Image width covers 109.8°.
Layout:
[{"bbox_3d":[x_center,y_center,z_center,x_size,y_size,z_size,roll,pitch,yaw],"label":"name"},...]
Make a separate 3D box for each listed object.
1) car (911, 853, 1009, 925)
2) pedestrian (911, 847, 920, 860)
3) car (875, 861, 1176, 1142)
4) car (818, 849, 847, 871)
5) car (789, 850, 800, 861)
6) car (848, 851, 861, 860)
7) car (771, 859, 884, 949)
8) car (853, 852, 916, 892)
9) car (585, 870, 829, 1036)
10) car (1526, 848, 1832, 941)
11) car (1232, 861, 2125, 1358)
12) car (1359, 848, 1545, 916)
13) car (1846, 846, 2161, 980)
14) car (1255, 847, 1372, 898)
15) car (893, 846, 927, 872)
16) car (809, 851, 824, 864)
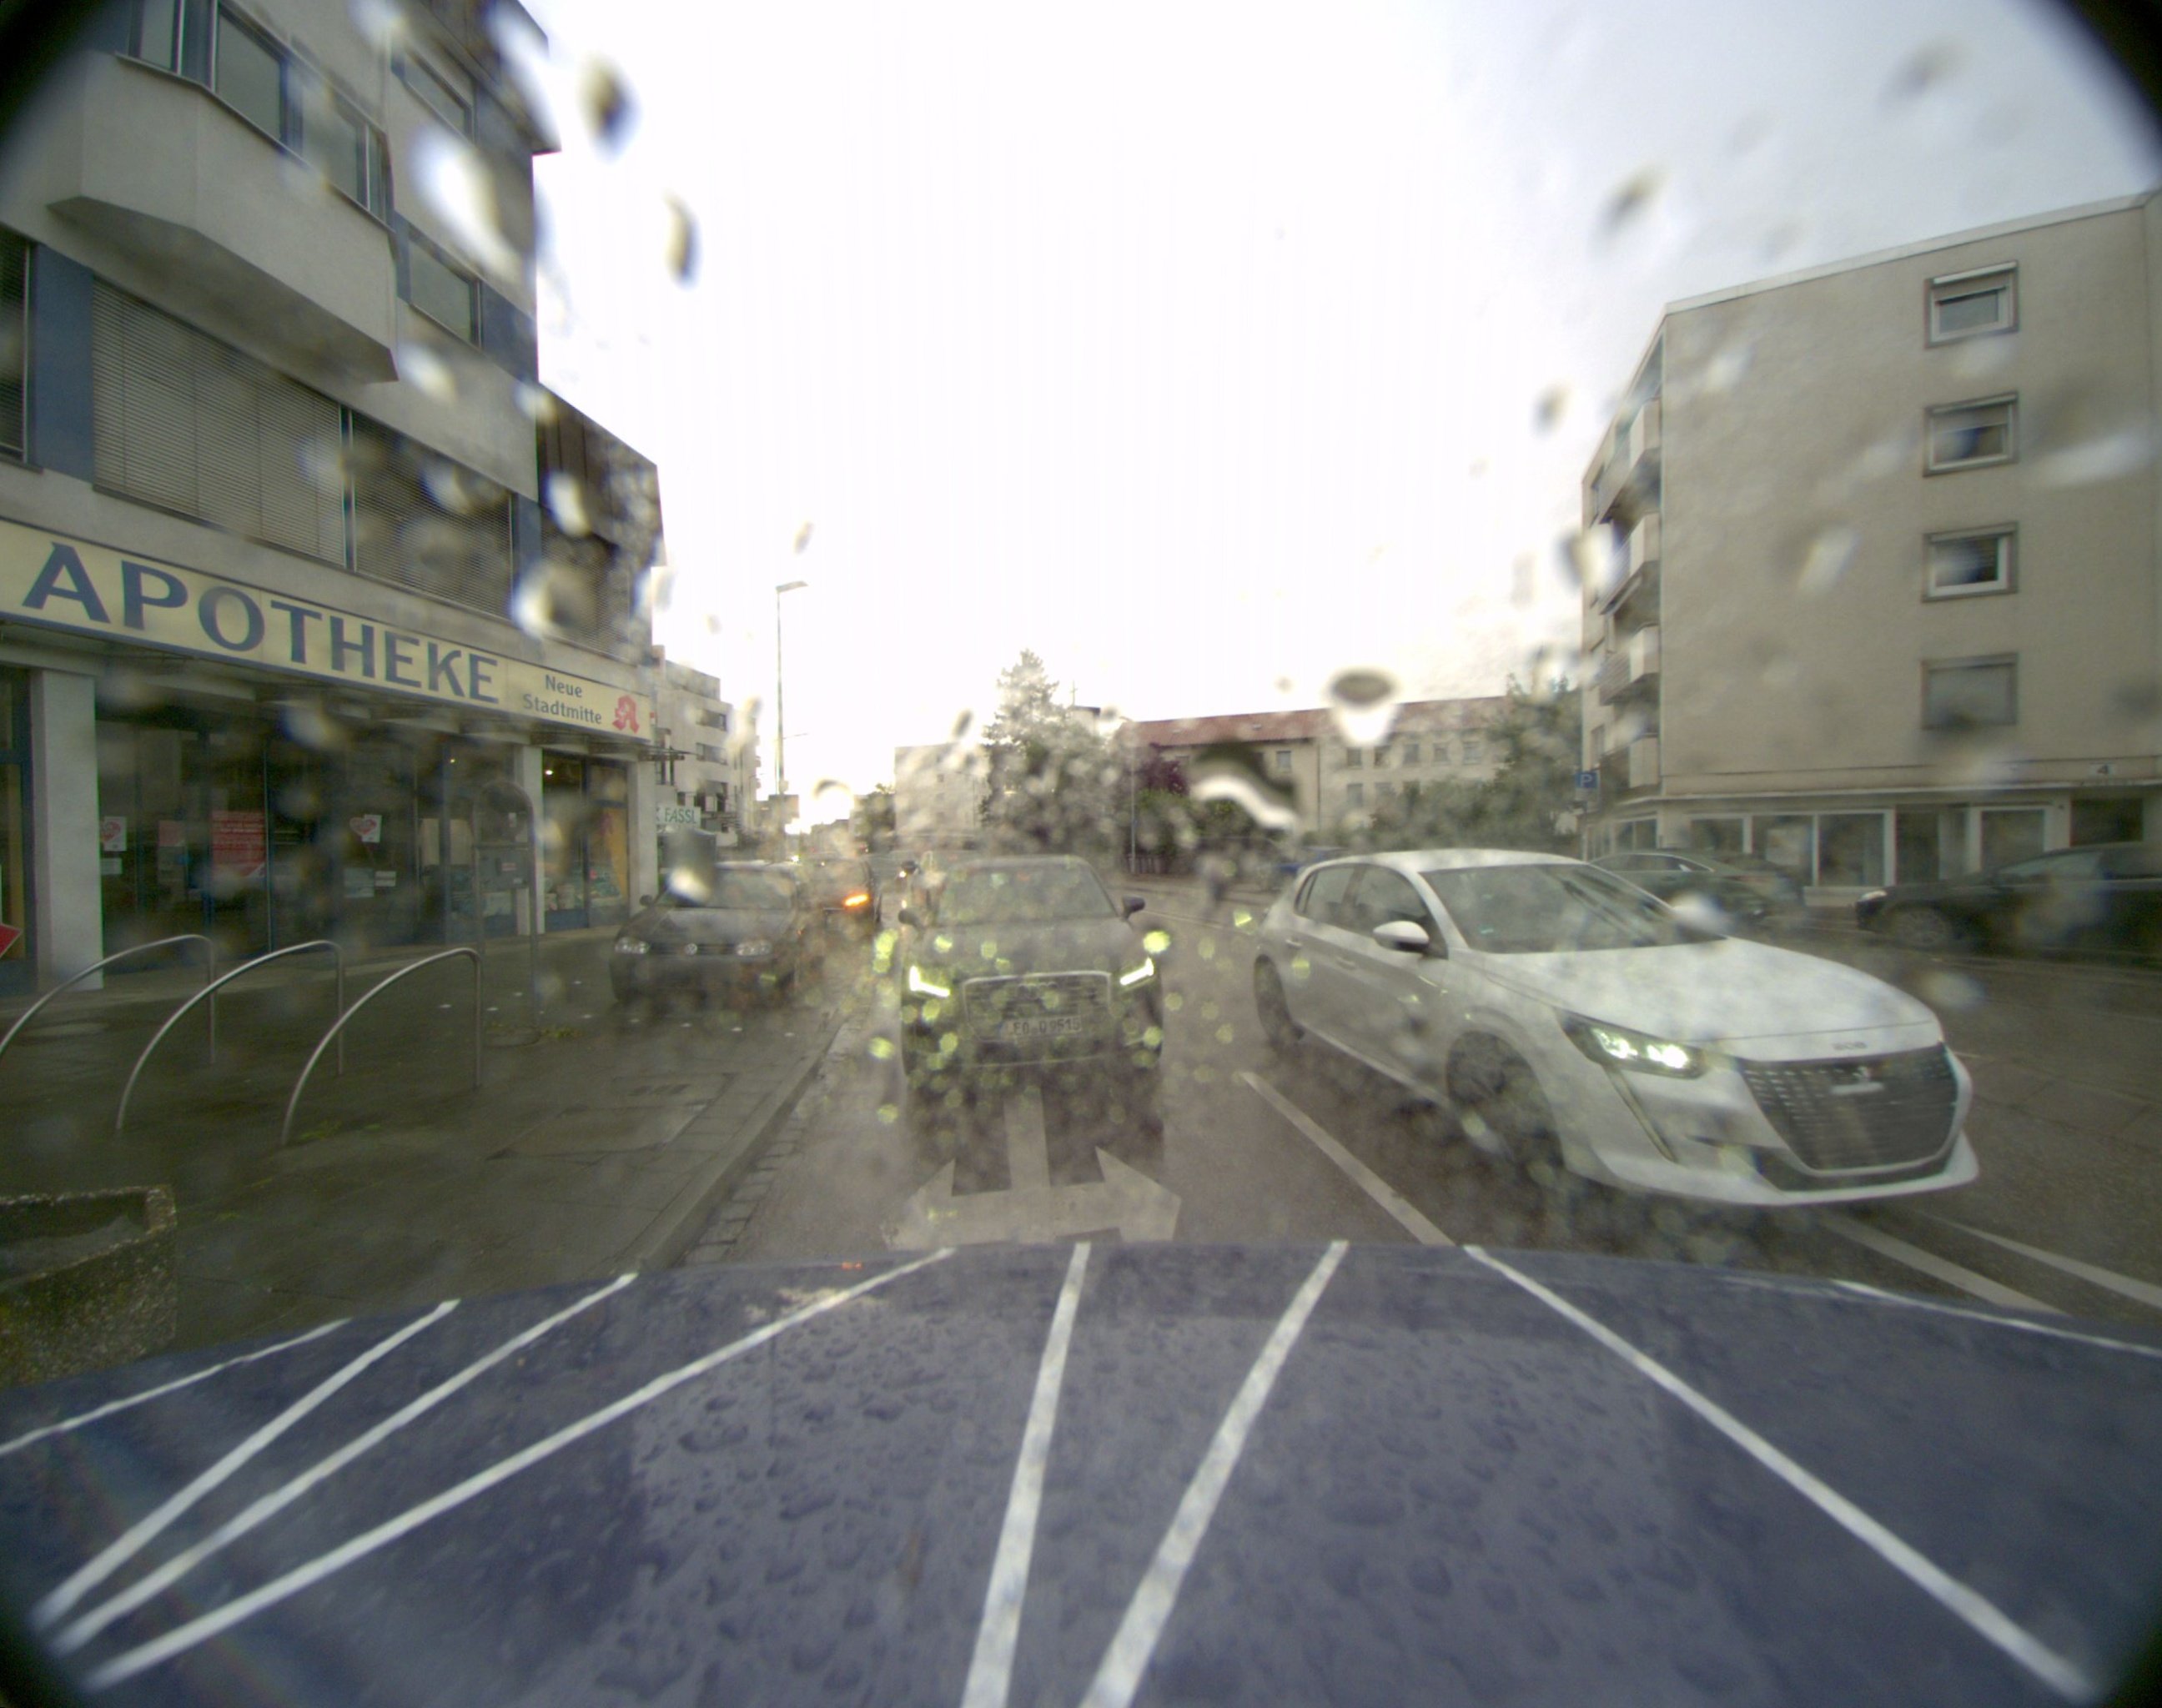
[{"bbox_3d":[-3.044,0.747,18.476,1.736,1.519,4.057,-1,0,-18],"label":"car"},{"bbox_3d":[-21.040,-0.070,96.418,0.857,1.726,0.834,-1,2,-29],"label":"pedestrian"},{"bbox_3d":[-0.586,0.869,6.469,1.735,1.436,4.042,-2,2,-8],"label":"car"},{"bbox_3d":[-19.530,0.438,59.690,2.001,1.606,3.993,-3,1,-19],"label":"car"},{"bbox_3d":[-47.193,0.257,125.109,1.747,1.630,3.992,-1,1,-21],"label":"car"},{"bbox_3d":[-39.262,0.271,131.882,1.874,1.428,3.733,-1,1,-20],"label":"car"},{"bbox_3d":[-4.797,0.852,14.862,1.660,1.416,3.995,-1,1,-12],"label":"car"},{"bbox_3d":[-7.925,0.667,30.453,1.804,1.361,3.964,-1,2,-24],"label":"car"},{"bbox_3d":[-3.979,0.937,8.735,1.656,1.364,3.727,1,0,-12],"label":"car"},{"bbox_3d":[11.149,0.639,14.575,1.839,1.426,4.266,-2,2,-21],"label":"car"},{"bbox_3d":[2.437,0.818,4.416,1.744,1.401,3.892,-3,1,-9],"label":"car"},{"bbox_3d":[9.321,0.621,19.513,1.639,1.491,4.338,-1,1,-21],"label":"car"},{"bbox_3d":[12.921,0.669,9.618,1.839,1.451,4.180,-2,2,-21],"label":"car"},{"bbox_3d":[7.458,0.526,24.744,1.636,1.497,3.873,-1,1,-20],"label":"car"},{"bbox_3d":[-10.757,0.284,47.596,1.753,1.446,3.807,-1,2,-18],"label":"car"},{"bbox_3d":[-35.163,0.474,101.072,1.746,1.630,3.993,-1,1,-18],"label":"car"}]
